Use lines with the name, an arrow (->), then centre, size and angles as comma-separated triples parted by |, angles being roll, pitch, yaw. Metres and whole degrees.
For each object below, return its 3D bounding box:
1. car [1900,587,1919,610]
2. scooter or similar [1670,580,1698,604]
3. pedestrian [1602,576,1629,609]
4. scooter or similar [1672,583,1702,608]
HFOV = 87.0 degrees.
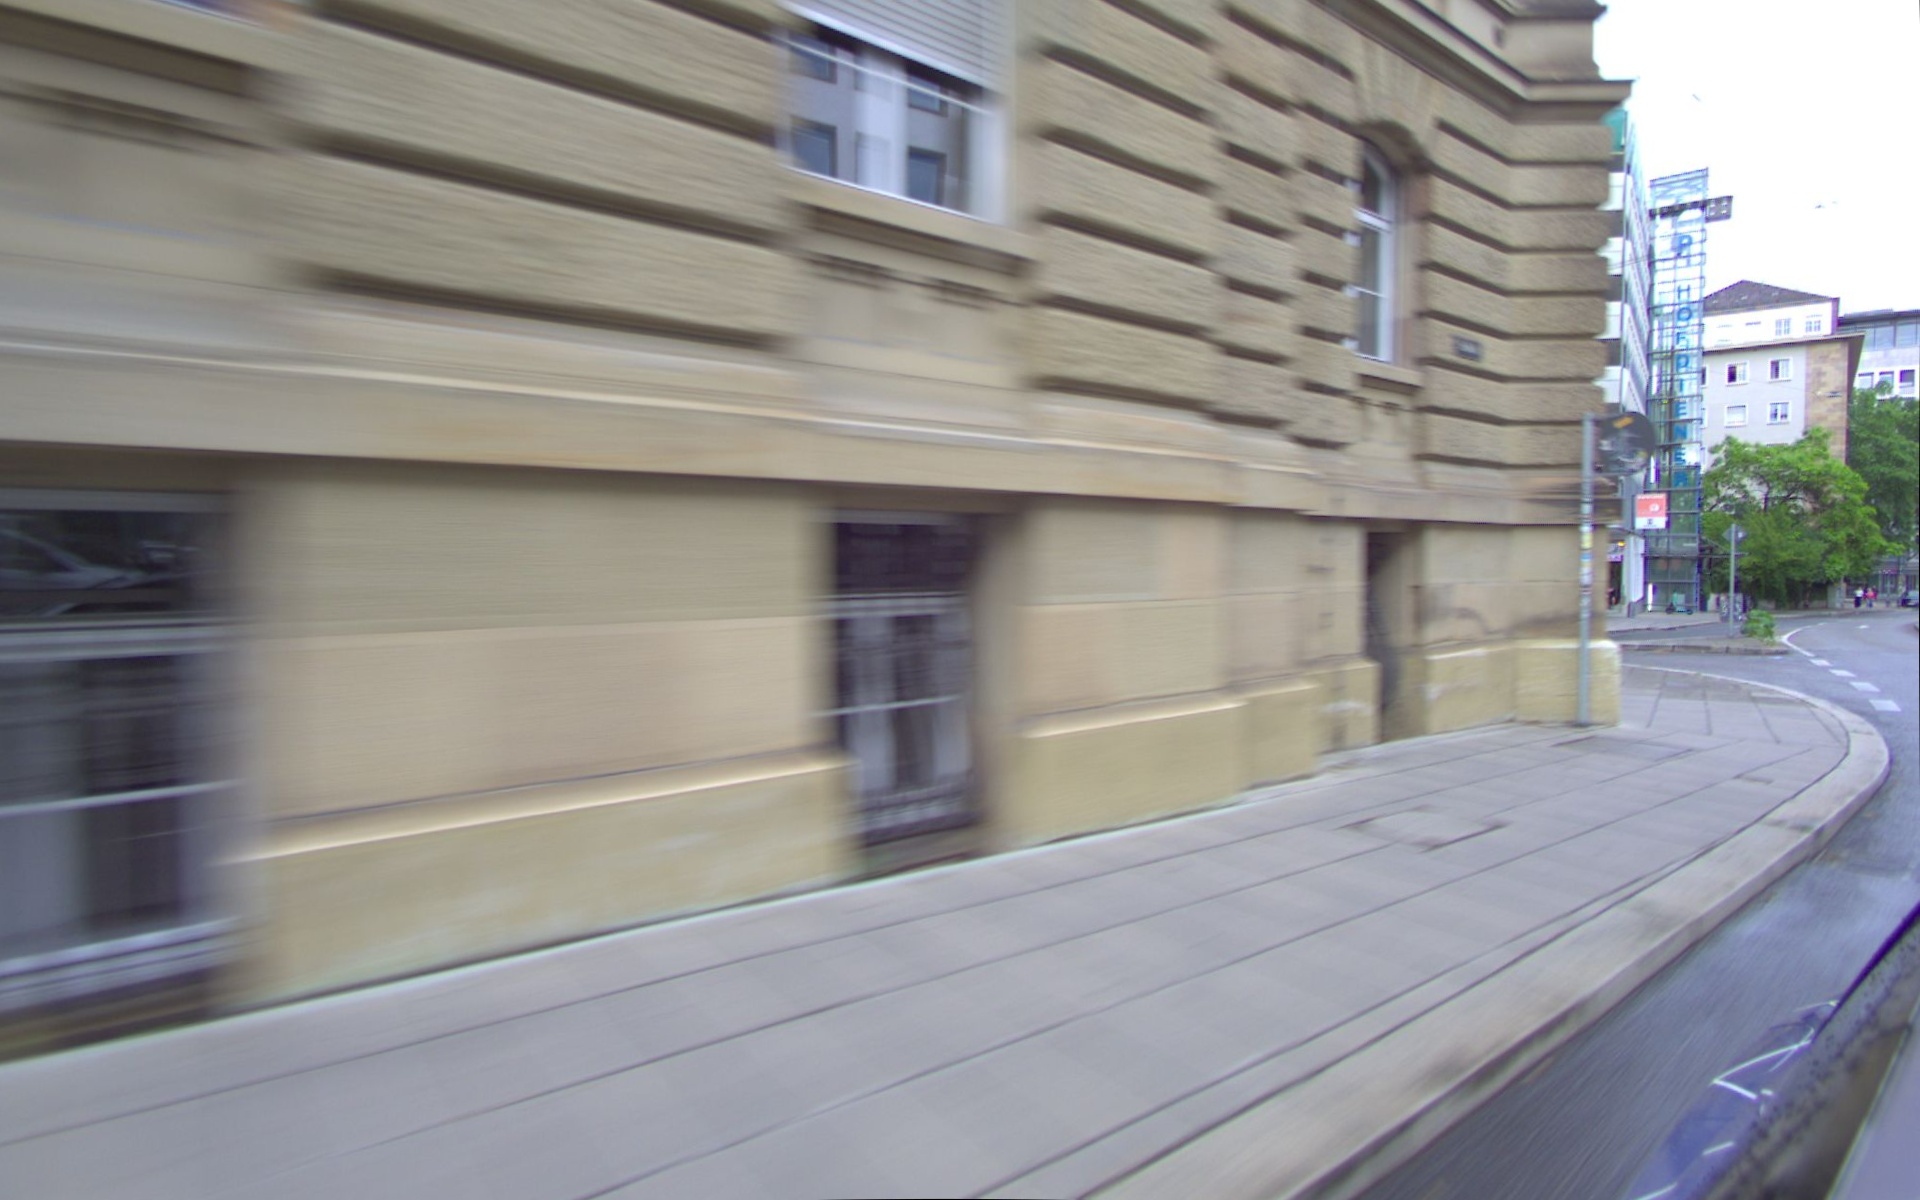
car -> 78.256, -0.141, 82.549 | 1.990, 1.838, 3.944 | -1, 1, 39
scooter or similar -> 37.359, -0.417, 52.222 | 1.062, 1.188, 0.463 | 2, 1, 16
pedestrian -> 28.820, -0.326, 44.490 | 0.900, 1.400, 1.019 | 3, 3, 37
scooter or similar -> 36.241, -0.240, 50.461 | 1.062, 1.188, 0.463 | 2, 1, 16
